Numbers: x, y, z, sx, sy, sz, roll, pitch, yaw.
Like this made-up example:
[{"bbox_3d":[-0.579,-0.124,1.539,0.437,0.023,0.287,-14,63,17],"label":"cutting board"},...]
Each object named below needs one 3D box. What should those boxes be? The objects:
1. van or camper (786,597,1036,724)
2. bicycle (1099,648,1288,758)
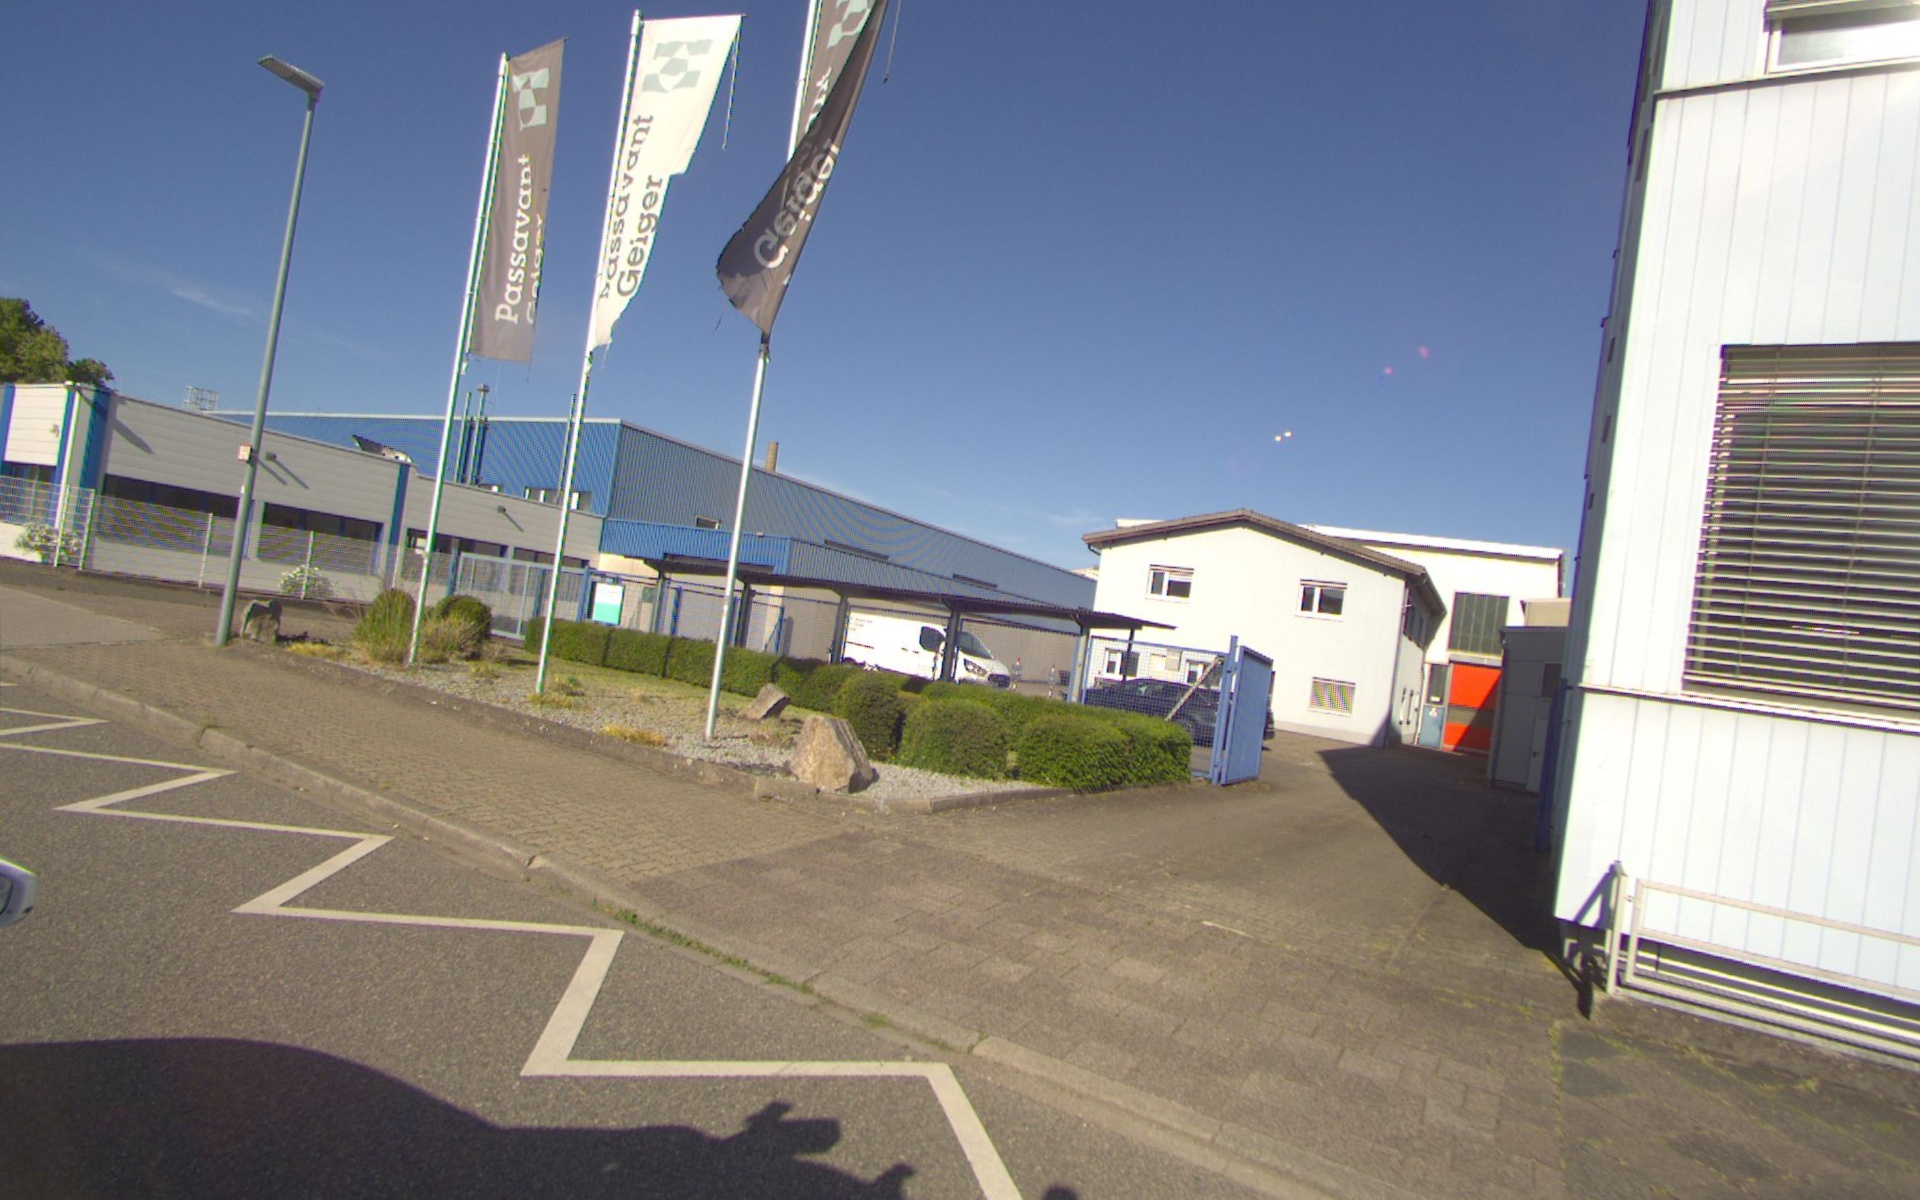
[{"bbox_3d":[-1.410,1.550,26.715,6.410,2.407,2.105,6,-4,34],"label":"van or camper"},{"bbox_3d":[5.738,2.502,24.771,3.932,2.036,1.999,7,-2,30],"label":"bicycle"}]
